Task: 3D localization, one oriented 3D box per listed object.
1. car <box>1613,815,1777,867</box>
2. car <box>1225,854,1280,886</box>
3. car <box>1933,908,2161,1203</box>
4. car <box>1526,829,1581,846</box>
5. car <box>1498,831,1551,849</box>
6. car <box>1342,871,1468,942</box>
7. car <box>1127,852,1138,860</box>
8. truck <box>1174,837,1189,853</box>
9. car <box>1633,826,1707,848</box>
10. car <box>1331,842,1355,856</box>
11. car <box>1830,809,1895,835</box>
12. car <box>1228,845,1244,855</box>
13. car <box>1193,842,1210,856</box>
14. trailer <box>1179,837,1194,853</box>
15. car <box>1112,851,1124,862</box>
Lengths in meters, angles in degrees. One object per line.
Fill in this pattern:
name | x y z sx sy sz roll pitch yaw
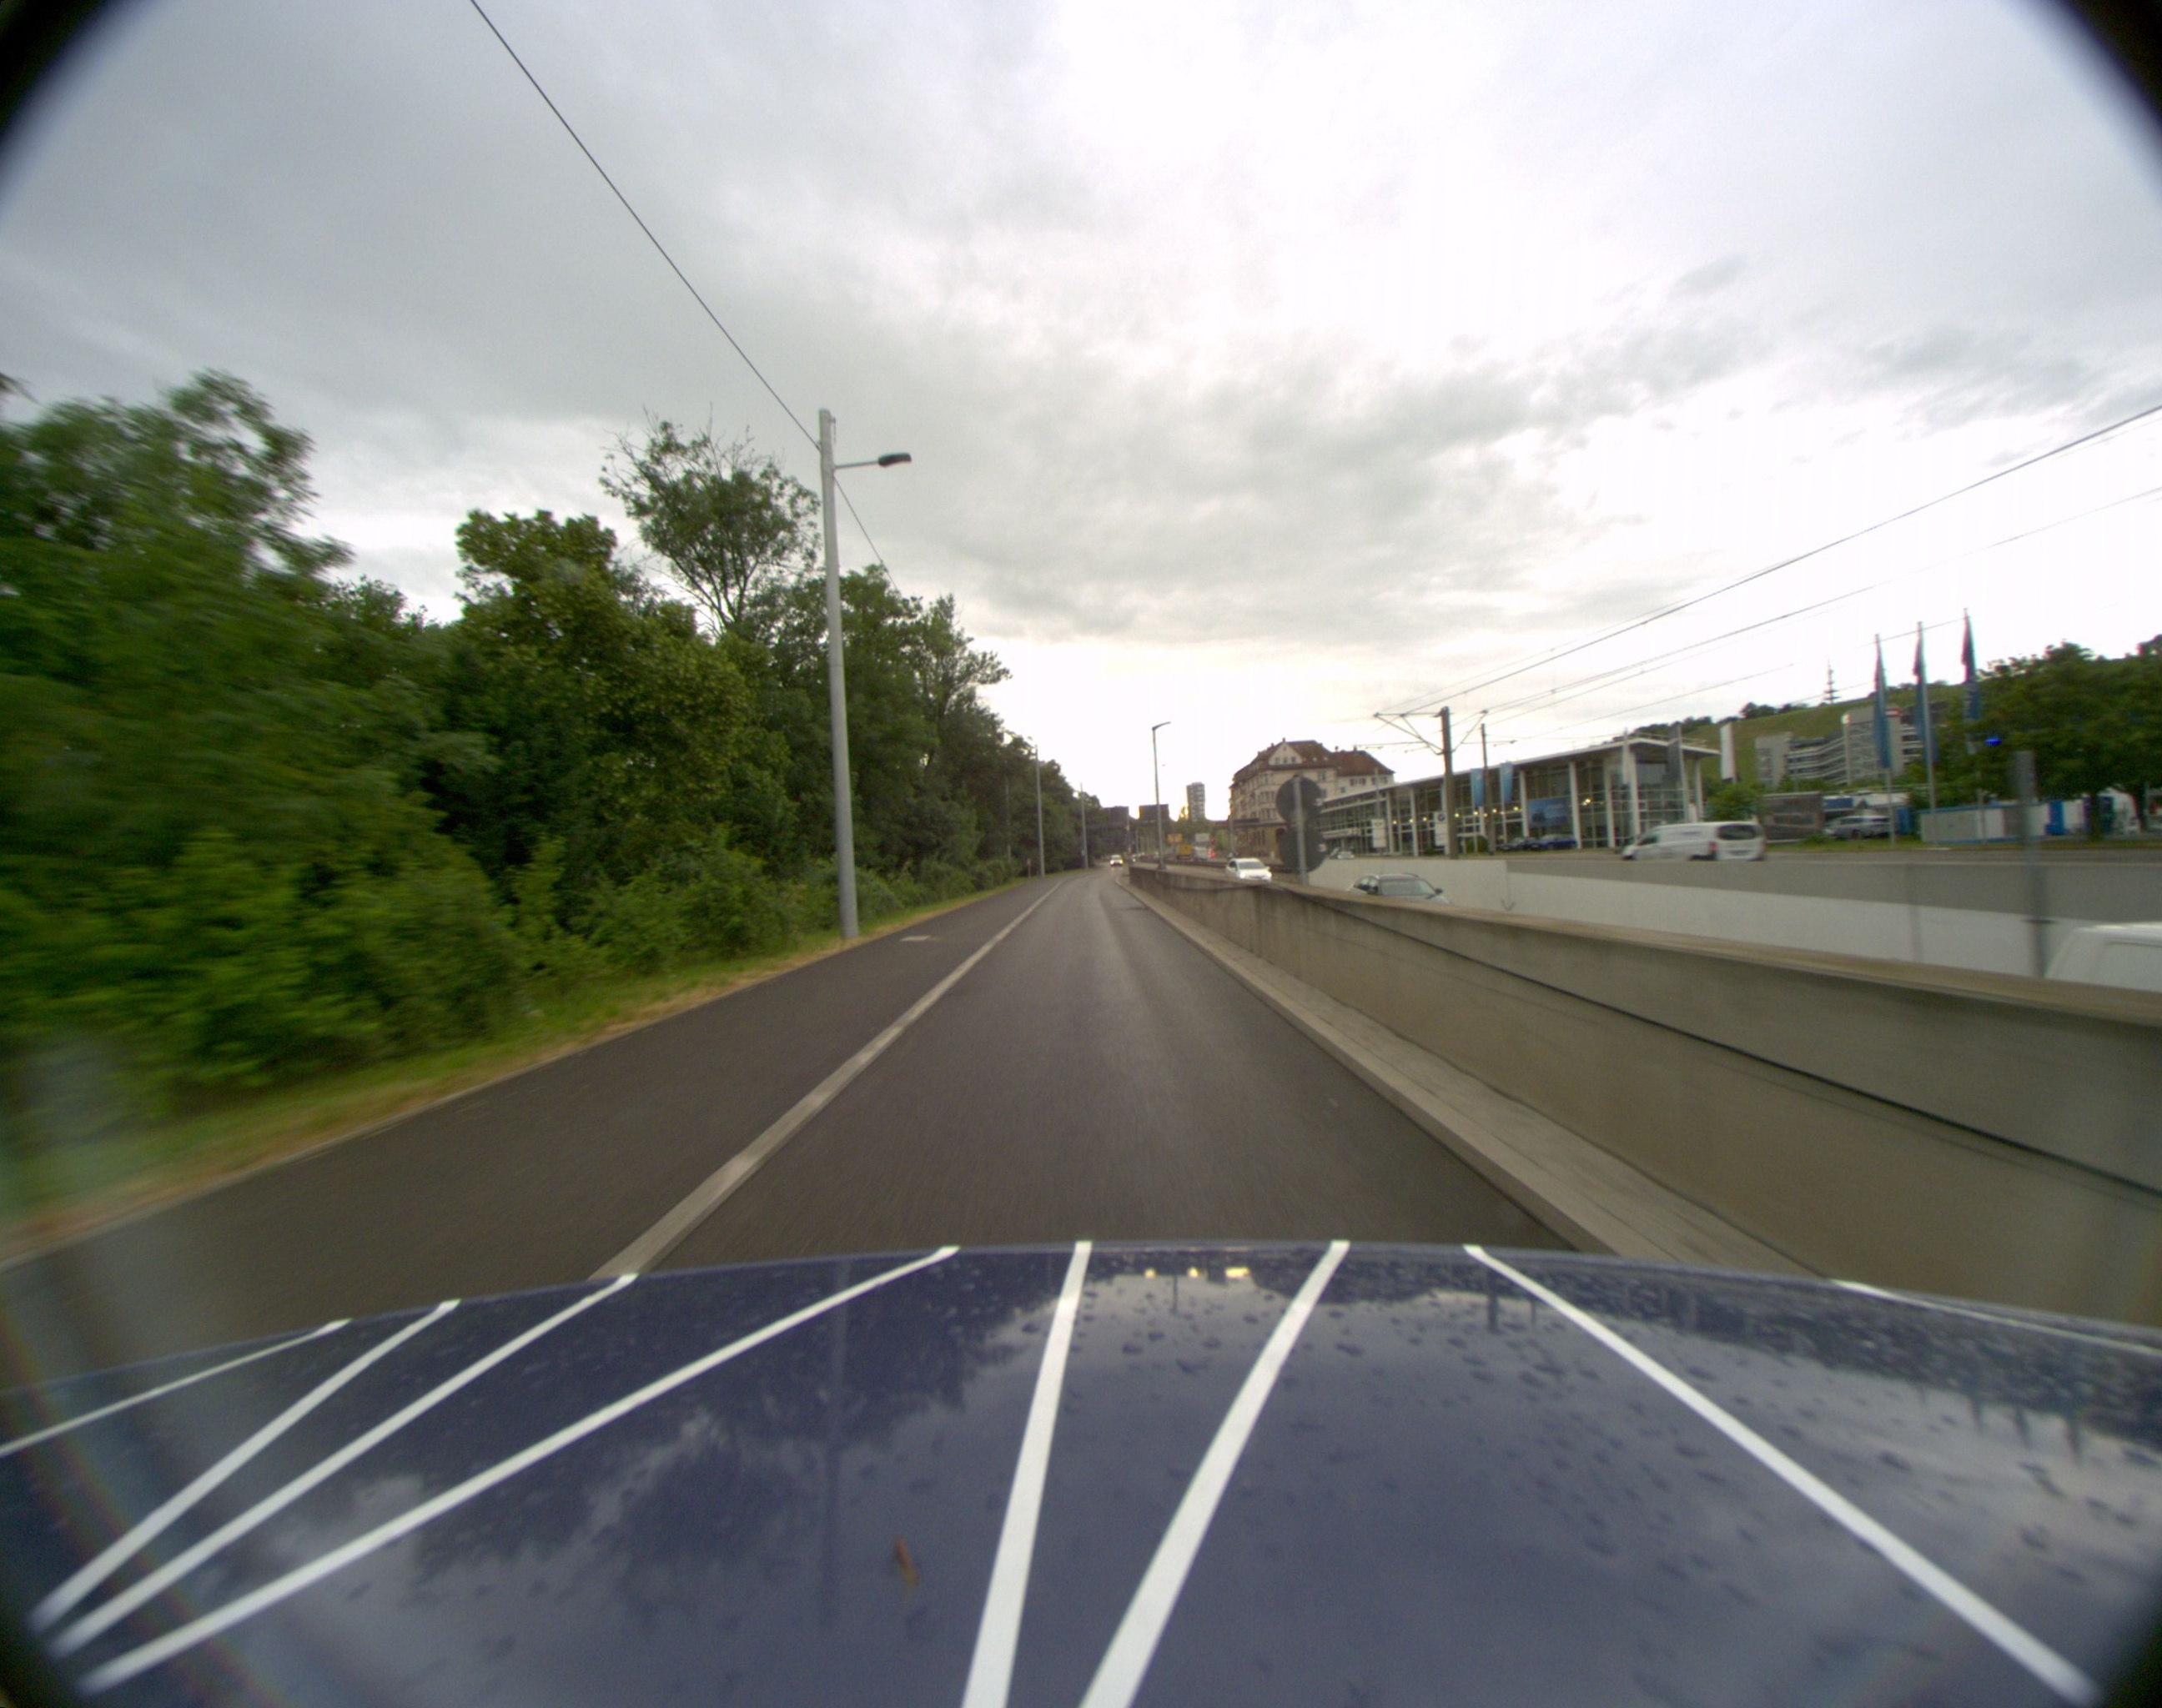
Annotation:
car | 22.786 -0.445 28.520 2.005 1.685 5.034 -3 0 0
car | 9.192 0.834 41.080 1.982 1.564 4.319 -2 0 1
car | 8.721 1.513 4.566 1.914 1.947 4.718 -3 0 1
car | 39.104 -1.385 62.873 4.003 1.228 1.757 -3 1 -20
car | 38.237 -1.243 65.518 4.003 1.227 1.701 -3 -2 -20
car | 8.526 1.318 20.389 1.708 1.564 3.896 -2 0 1
car | 9.673 0.396 142.838 1.710 1.521 4.000 -3 0 1
truck | 27.774 -2.468 209.670 2.690 4.028 10.142 -2 0 0
car | 39.429 -1.104 50.961 3.523 1.267 1.717 -3 1 5
car | 26.529 -0.494 76.993 1.385 1.292 2.801 -3 0 -1
car | 51.815 -2.095 50.439 1.385 1.564 2.801 -3 0 -1
car | 26.481 -0.706 129.945 1.746 1.507 4.340 -3 0 1
car | 23.513 -1.035 148.484 2.056 2.583 6.164 -3 0 0
trailer | 27.777 -2.434 200.084 2.690 4.028 9.082 -2 0 0
car | 5.833 0.380 119.013 1.710 1.585 4.000 -3 0 1
